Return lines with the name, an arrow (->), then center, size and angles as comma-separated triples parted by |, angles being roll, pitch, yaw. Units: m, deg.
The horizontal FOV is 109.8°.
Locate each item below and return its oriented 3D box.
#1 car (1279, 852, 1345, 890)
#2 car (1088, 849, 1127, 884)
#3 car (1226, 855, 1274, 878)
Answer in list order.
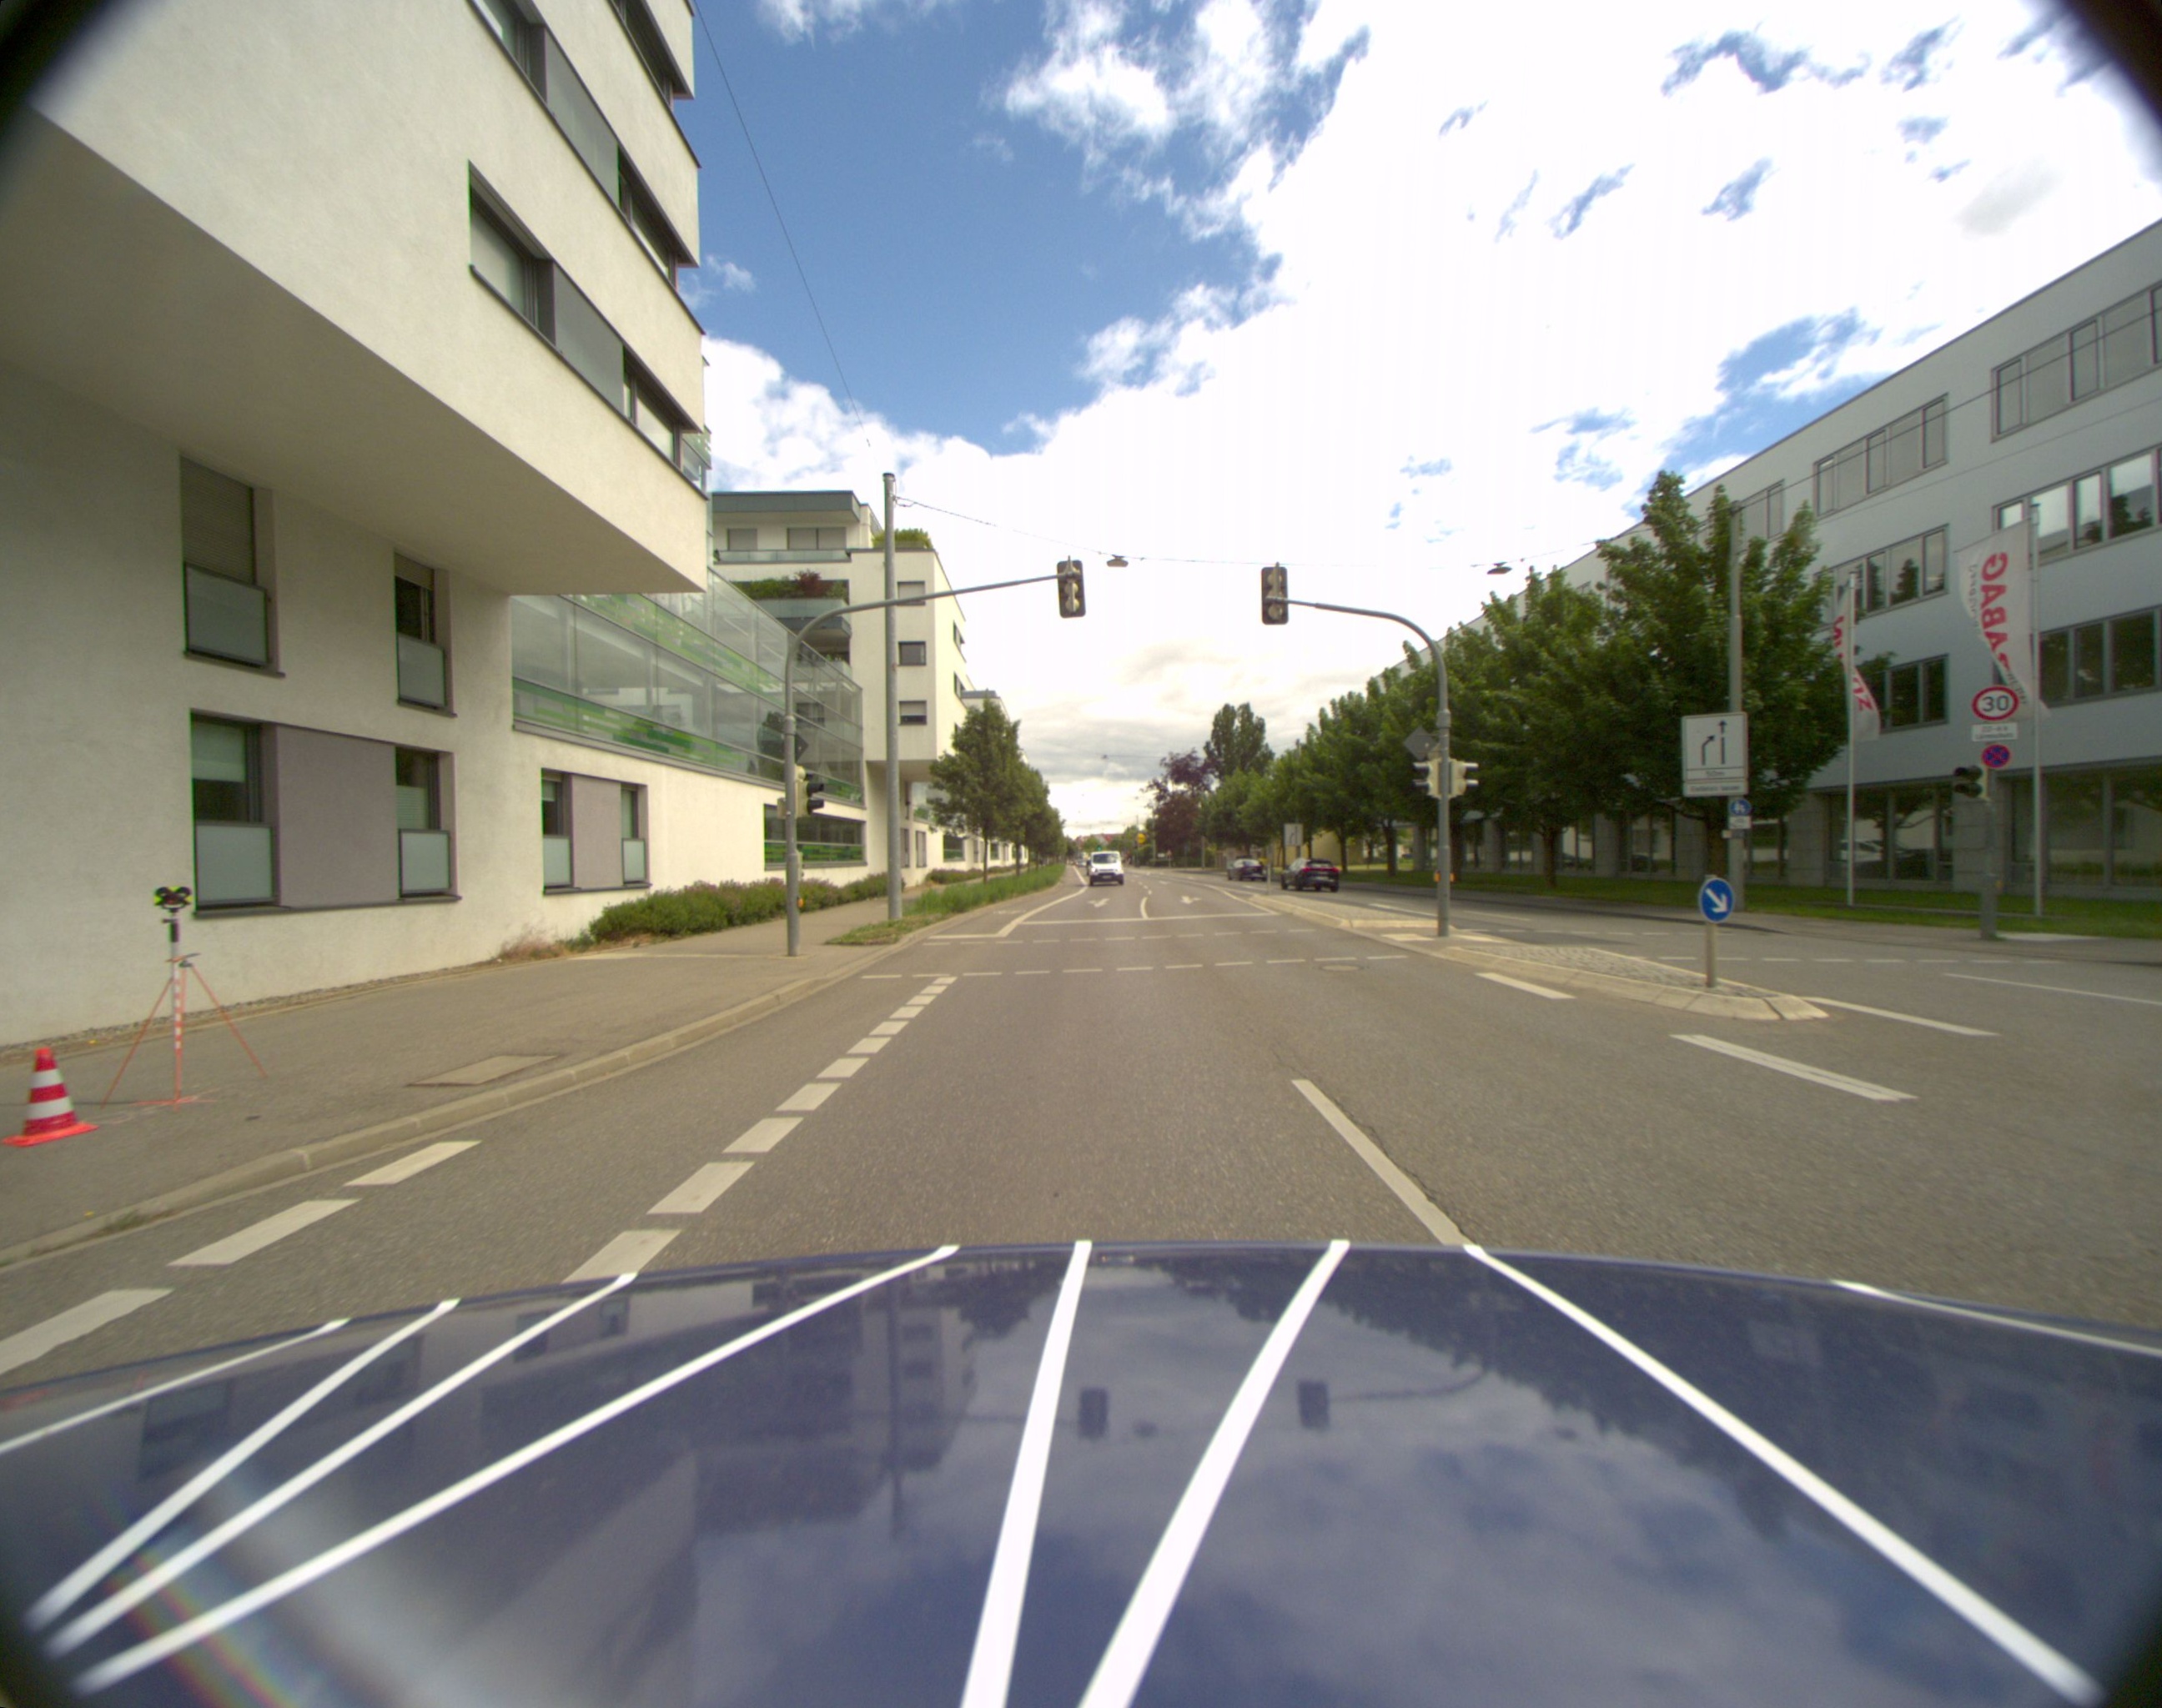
car -> 10.518, 0.728, 34.972 | 1.889, 1.543, 4.540 | 0, 1, 3
car -> 1.529, 0.682, 45.129 | 1.999, 1.905, 3.999 | -2, 1, -1
car -> 11.498, 0.796, 52.086 | 2.029, 1.437, 5.048 | 1, 1, -1
